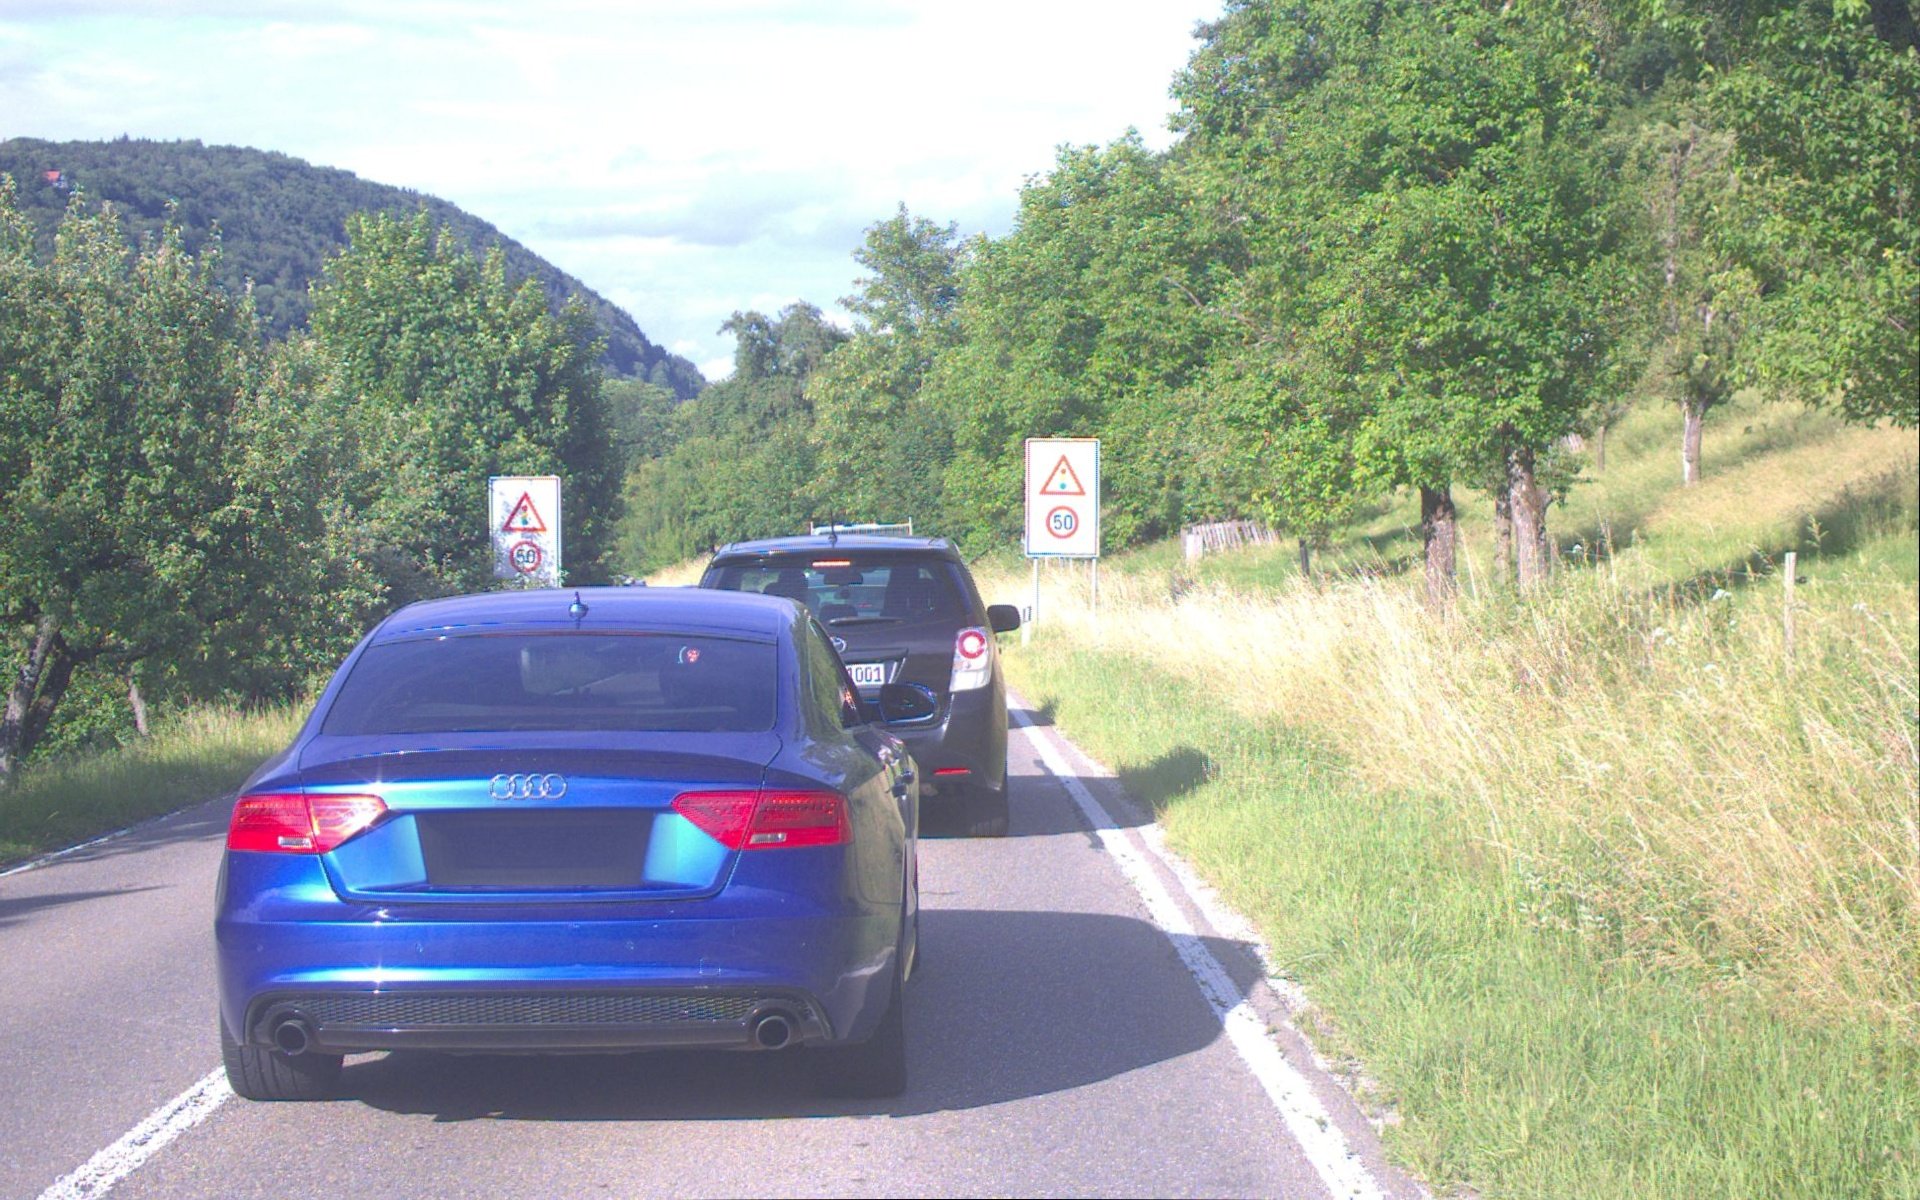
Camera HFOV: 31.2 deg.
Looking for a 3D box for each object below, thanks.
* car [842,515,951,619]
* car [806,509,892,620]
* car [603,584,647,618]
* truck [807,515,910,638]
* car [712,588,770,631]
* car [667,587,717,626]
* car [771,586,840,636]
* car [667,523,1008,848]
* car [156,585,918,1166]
[{"bbox_3d":[-1.025,-0.545,55.676,1.692,1.618,3.789,0,1,-1],"label":"car"},{"bbox_3d":[-2.586,-0.824,79.223,1.792,2.445,3.920,2,1,-4],"label":"car"},{"bbox_3d":[-15.805,0.024,162.247,1.558,1.490,3.779,2,1,-13],"label":"car"},{"bbox_3d":[-2.041,-0.496,69.273,1.950,2.337,5.094,2,1,-2],"label":"truck"},{"bbox_3d":[-8.187,0.340,128.328,1.747,1.490,3.779,2,1,-9],"label":"car"},{"bbox_3d":[-11.144,0.274,142.724,1.558,1.490,3.779,2,1,-12],"label":"car"},{"bbox_3d":[-4.959,0.341,110.238,1.747,1.490,3.779,2,1,-9],"label":"car"},{"bbox_3d":[-0.645,0.396,19.073,1.692,1.618,3.789,0,1,-1],"label":"car"},{"bbox_3d":[-1.039,0.652,10.356,1.805,1.377,4.215,0,0,0],"label":"car"}]
